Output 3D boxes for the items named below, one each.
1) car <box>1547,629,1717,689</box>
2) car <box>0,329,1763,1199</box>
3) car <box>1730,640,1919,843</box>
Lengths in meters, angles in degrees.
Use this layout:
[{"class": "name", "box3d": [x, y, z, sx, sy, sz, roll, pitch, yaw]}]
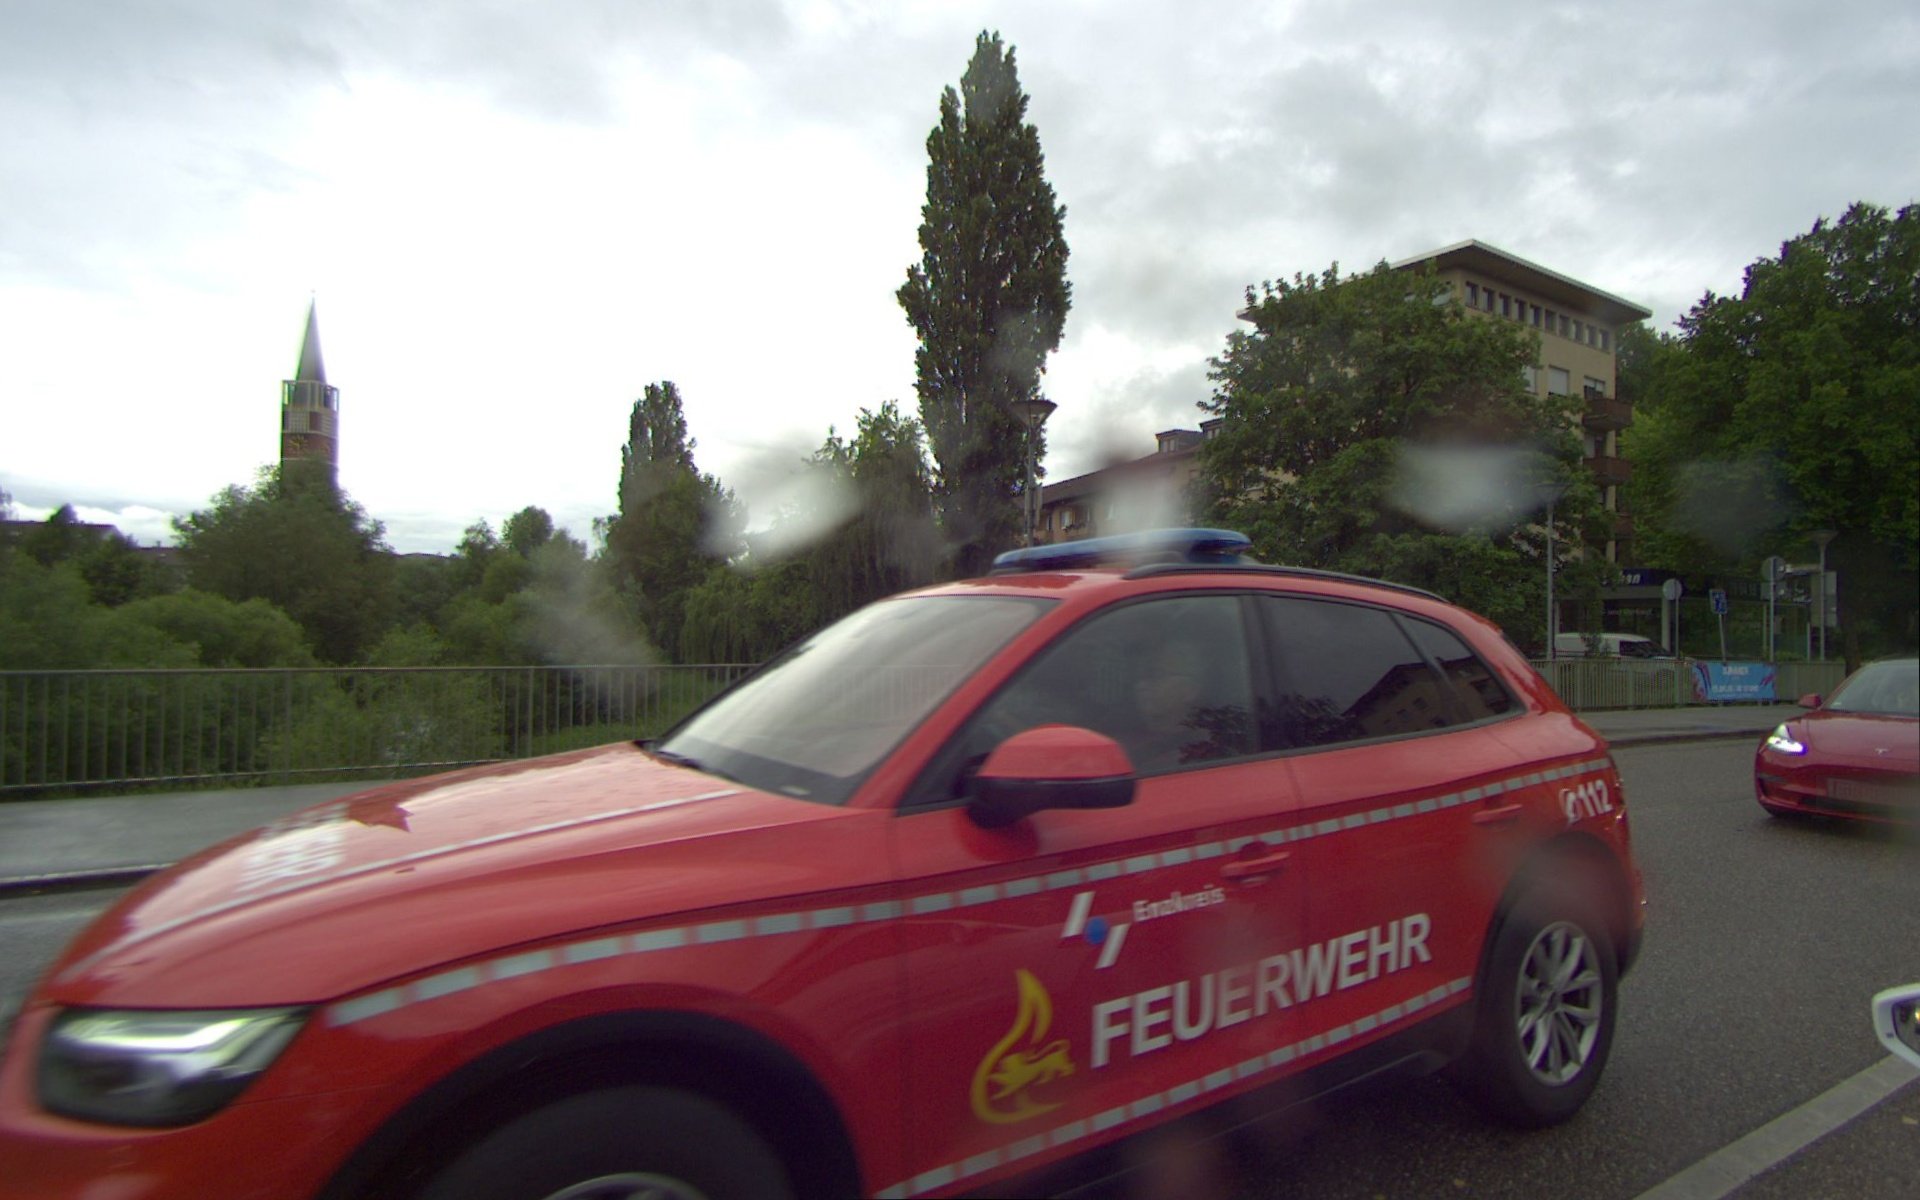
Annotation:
[{"class": "car", "box3d": [24.059, 2.042, 36.117, 1.982, 1.879, 4.705, 0, 0, -38]}, {"class": "car", "box3d": [0.308, 0.650, 3.033, 4.320, 1.757, 1.880, 1, -3, -30]}, {"class": "car", "box3d": [8.426, 1.045, 8.345, 4.169, 1.421, 1.773, 1, -3, -30]}]
